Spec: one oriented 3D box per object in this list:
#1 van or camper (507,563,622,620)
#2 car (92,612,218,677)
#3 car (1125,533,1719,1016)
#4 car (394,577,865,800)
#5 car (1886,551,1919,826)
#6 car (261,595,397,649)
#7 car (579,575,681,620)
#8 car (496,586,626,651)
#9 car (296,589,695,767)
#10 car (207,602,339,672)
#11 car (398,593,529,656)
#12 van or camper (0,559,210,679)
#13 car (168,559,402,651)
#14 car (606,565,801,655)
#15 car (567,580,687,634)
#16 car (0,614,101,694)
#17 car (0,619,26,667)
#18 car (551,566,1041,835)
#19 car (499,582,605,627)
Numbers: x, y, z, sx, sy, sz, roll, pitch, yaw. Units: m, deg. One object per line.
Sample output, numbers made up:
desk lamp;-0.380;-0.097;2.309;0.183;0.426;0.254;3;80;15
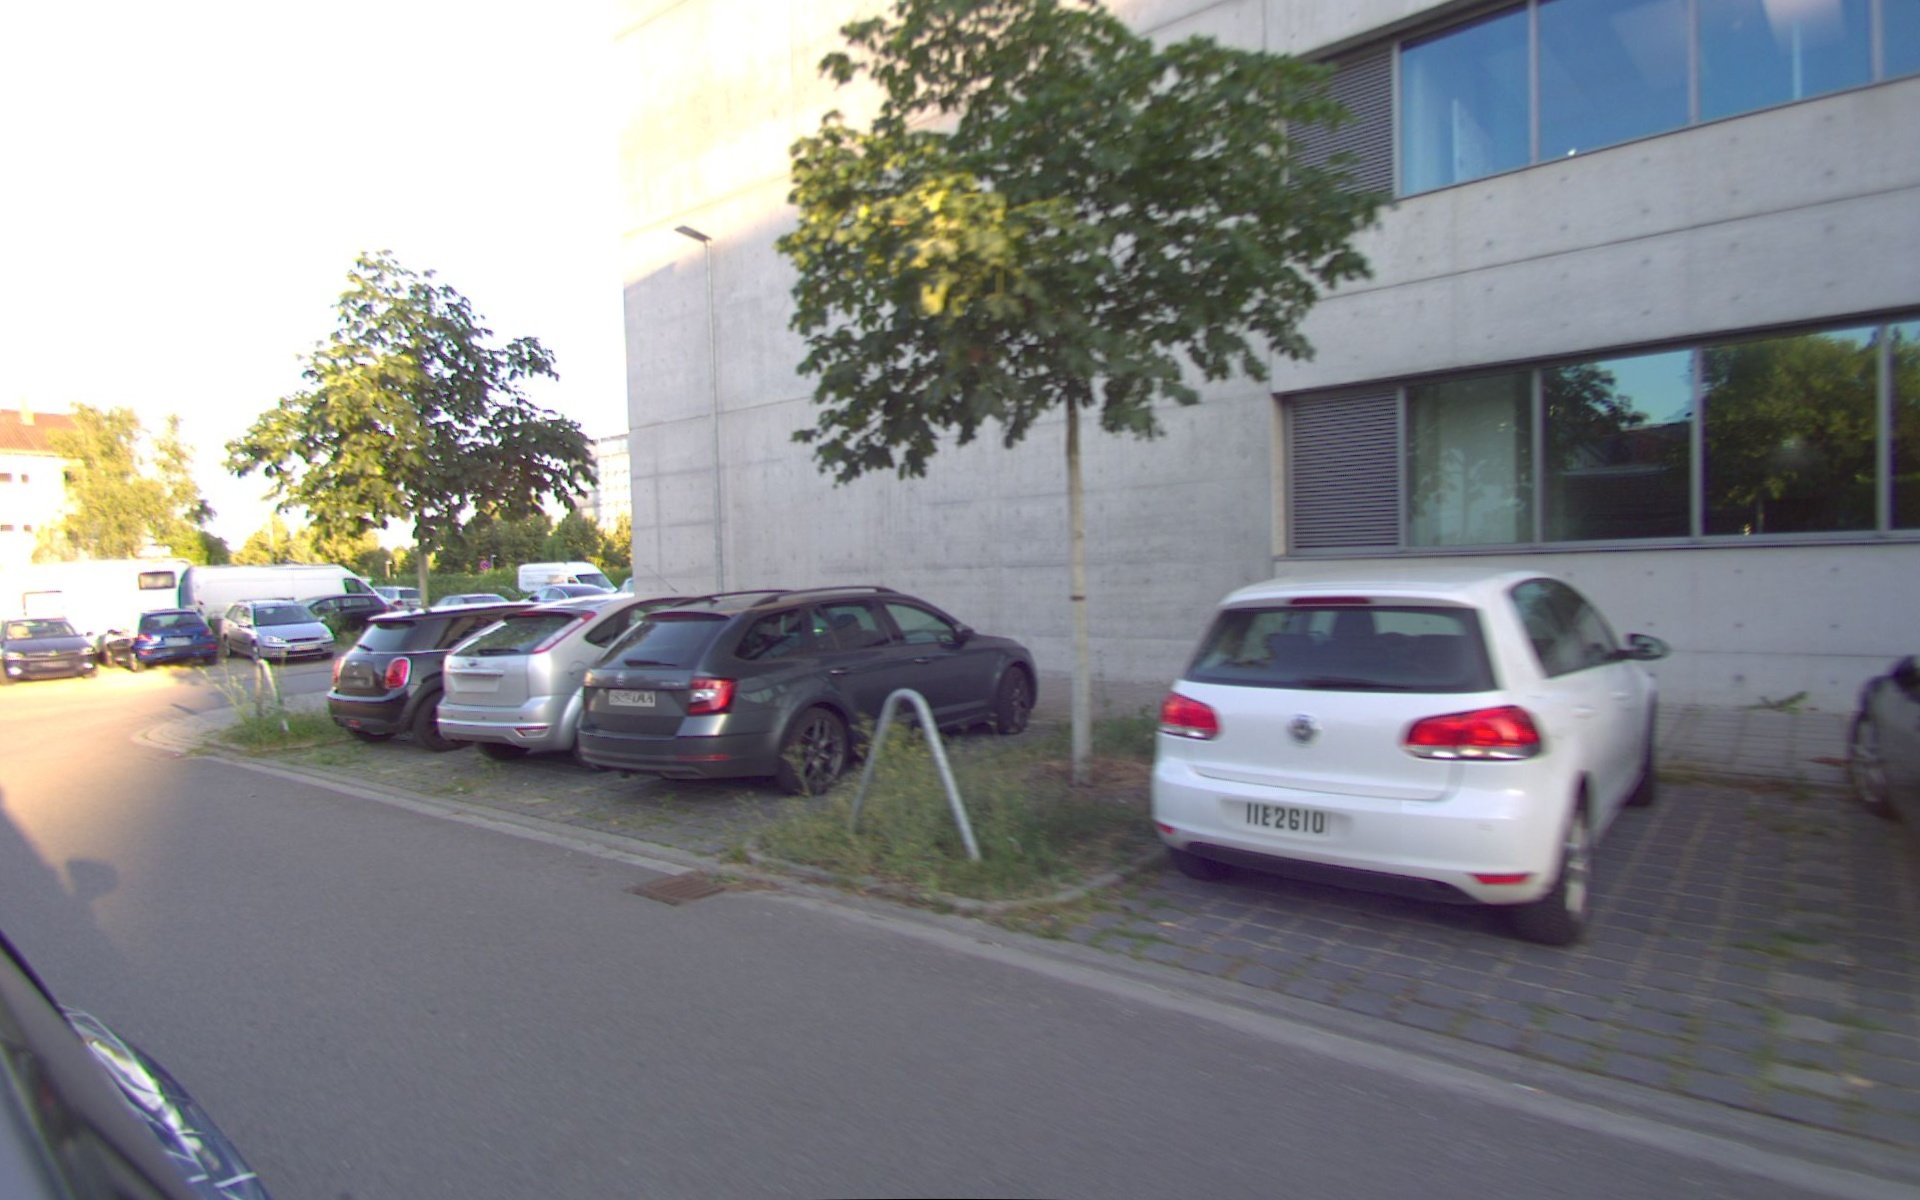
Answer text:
van or camper;-20.426;-0.409;52.155;6.621;2.710;1.999;-1;3;34
car;-20.066;1.051;25.174;3.718;1.433;1.646;-1;2;39
car;2.694;0.479;5.305;1.759;1.522;3.946;-2;2;41
car;-2.964;0.654;9.906;1.841;1.540;4.053;-1;3;34
car;4.927;0.489;3.808;1.683;1.372;3.601;-2;2;36
car;-20.524;0.680;33.019;1.511;1.458;3.410;-1;3;34
car;-13.256;-0.083;40.510;4.399;1.633;1.647;-1;3;38
car;-12.303;0.504;31.087;4.399;1.633;1.647;3;5;38
car;-5.096;0.743;11.542;1.765;1.493;3.703;-2;2;35
car;-17.852;0.896;26.237;4.199;1.490;1.647;1;5;39
car;-14.691;0.660;29.868;4.399;1.490;1.647;3;5;38
van or camper;-24.381;0.481;26.859;2.401;2.919;6.689;-1;2;33
car;-22.822;0.065;34.554;2.217;2.692;6.191;-1;3;34
car;-5.907;0.189;23.690;1.845;1.845;4.046;-3;0;39
car;-11.254;0.170;34.094;4.399;1.510;1.647;3;5;38
car;-21.393;1.165;23.348;4.358;1.530;1.670;0;3;41
car;-29.215;1.353;28.571;1.685;1.338;3.786;-1;3;27
car;-1.046;0.590;8.252;1.581;1.523;3.965;-3;2;34
car;-15.456;0.197;38.222;4.399;1.510;1.647;-2;3;38
